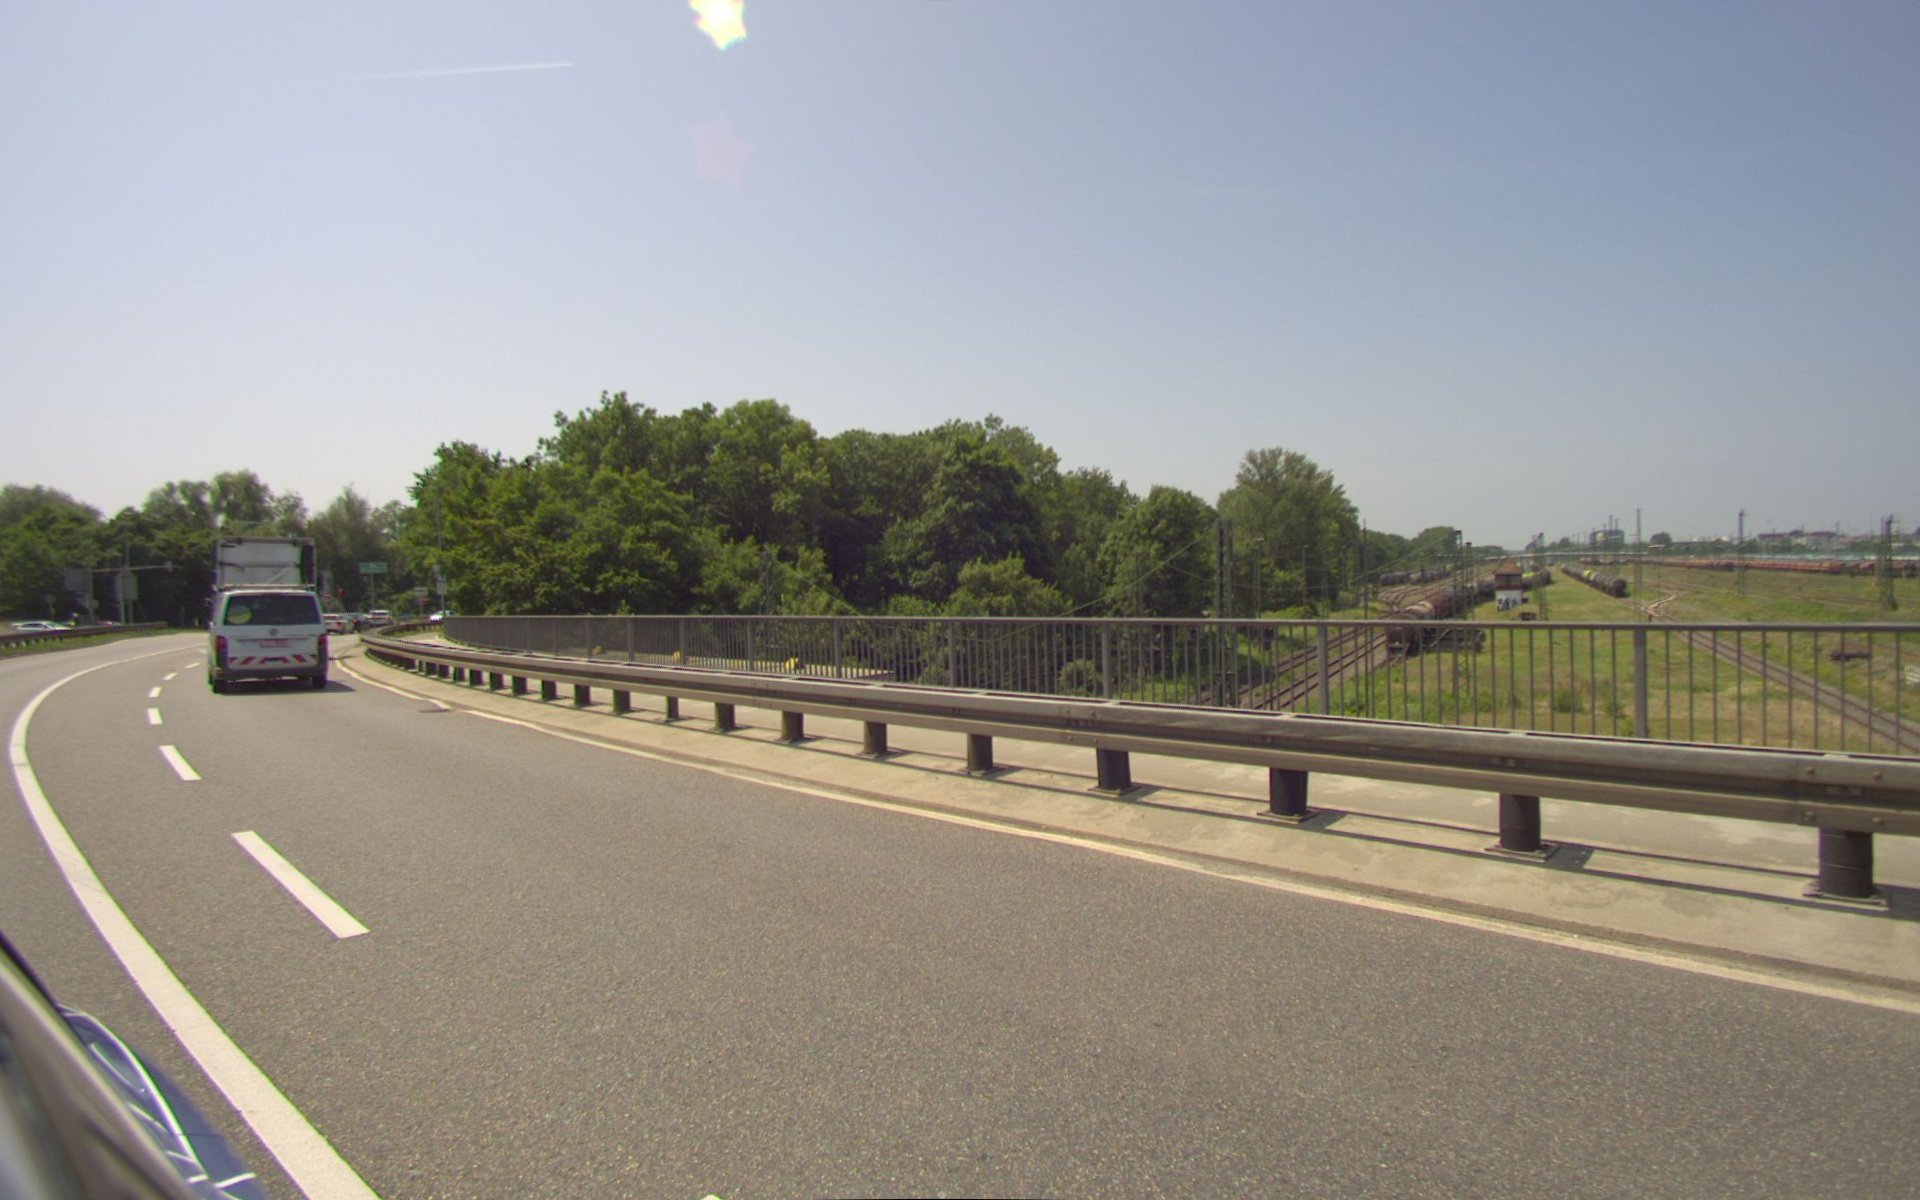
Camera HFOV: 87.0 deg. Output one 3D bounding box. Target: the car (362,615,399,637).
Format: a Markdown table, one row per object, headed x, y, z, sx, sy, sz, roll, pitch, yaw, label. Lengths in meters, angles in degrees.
| x | y | z | sx | sy | sz | roll | pitch | yaw | label |
| --- | --- | --- | --- | --- | --- | --- | --- | --- | --- |
| -46.957 | 2.085 | 82.080 | 1.802 | 1.651 | 4.593 | 0 | -1 | -20 | car |

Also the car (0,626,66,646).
| x | y | z | sx | sy | sz | roll | pitch | yaw | label |
| --- | --- | --- | --- | --- | --- | --- | --- | --- | --- |
| -78.130 | 3.053 | 85.189 | 4.239 | 1.517 | 1.867 | -2 | 0 | 2 | car |

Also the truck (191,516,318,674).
| x | y | z | sx | sy | sz | roll | pitch | yaw | label |
| --- | --- | --- | --- | --- | --- | --- | --- | --- | --- |
| -20.071 | -0.067 | 29.100 | 2.669 | 4.022 | 6.203 | 0 | -2 | -32 | truck |

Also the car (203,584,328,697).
| x | y | z | sx | sy | sz | roll | pitch | yaw | label |
| --- | --- | --- | --- | --- | --- | --- | --- | --- | --- |
| -14.179 | 0.768 | 20.529 | 1.837 | 2.015 | 4.824 | 0 | -1 | -38 | car |

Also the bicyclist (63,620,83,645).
| x | y | z | sx | sy | sz | roll | pitch | yaw | label |
| --- | --- | --- | --- | --- | --- | --- | --- | --- | --- |
| -56.877 | 2.083 | 64.895 | 0.683 | 1.611 | 0.669 | -2 | 0 | 6 | bicyclist |

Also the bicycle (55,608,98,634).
| x | y | z | sx | sy | sz | roll | pitch | yaw | label |
| --- | --- | --- | --- | --- | --- | --- | --- | --- | --- |
| -56.650 | 1.363 | 64.896 | 2.346 | 1.586 | 0.655 | -2 | 0 | 7 | bicycle |
